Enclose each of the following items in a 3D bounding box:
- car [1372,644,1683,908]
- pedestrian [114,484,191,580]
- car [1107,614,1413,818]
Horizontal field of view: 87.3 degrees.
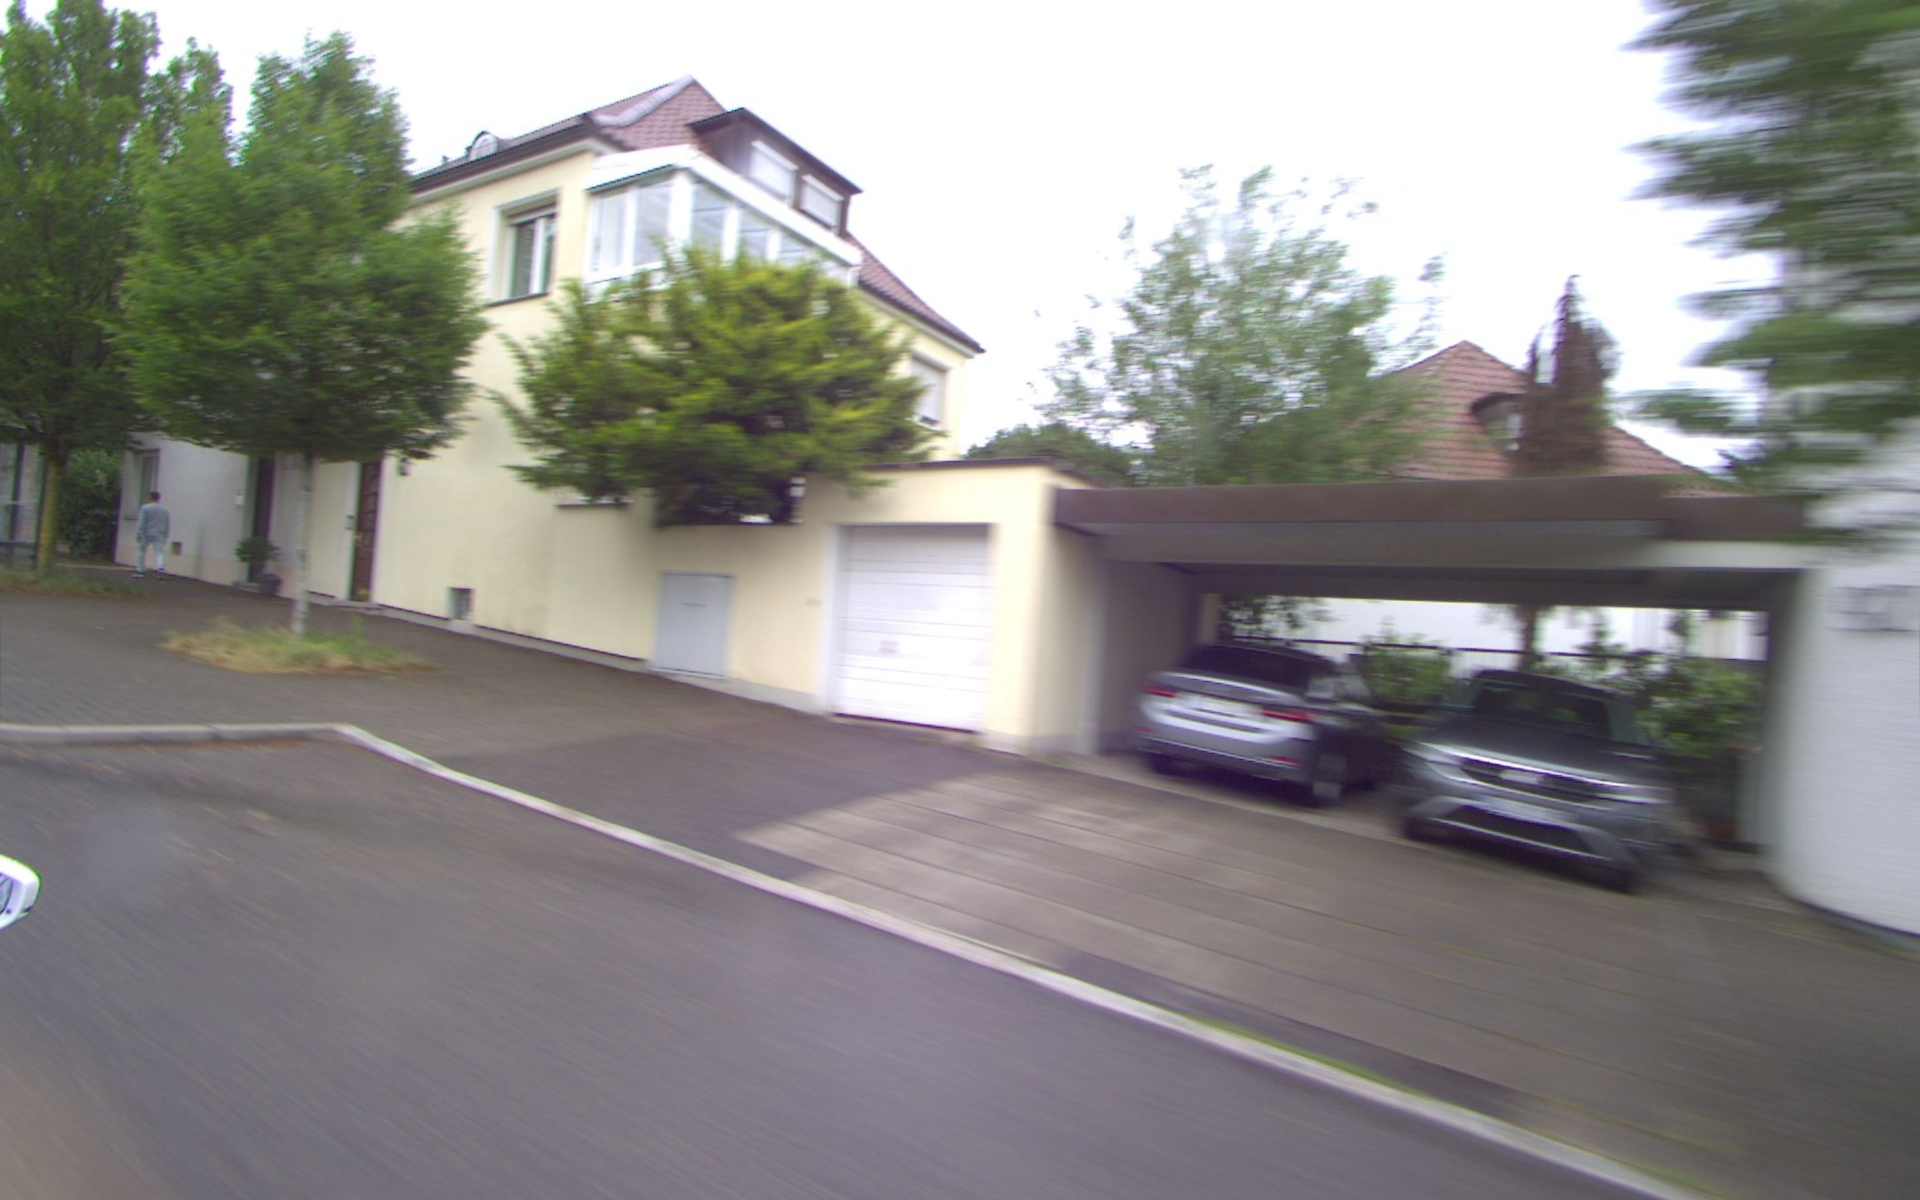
[{"bbox_3d":[4.960,1.363,8.700,1.753,1.525,3.705,8,-1,33],"label":"car"},{"bbox_3d":[-15.651,-1.311,19.492,1.028,1.708,0.832,8,3,34],"label":"pedestrian"},{"bbox_3d":[3.372,1.192,10.650,1.801,1.497,4.304,8,-1,33],"label":"car"}]
